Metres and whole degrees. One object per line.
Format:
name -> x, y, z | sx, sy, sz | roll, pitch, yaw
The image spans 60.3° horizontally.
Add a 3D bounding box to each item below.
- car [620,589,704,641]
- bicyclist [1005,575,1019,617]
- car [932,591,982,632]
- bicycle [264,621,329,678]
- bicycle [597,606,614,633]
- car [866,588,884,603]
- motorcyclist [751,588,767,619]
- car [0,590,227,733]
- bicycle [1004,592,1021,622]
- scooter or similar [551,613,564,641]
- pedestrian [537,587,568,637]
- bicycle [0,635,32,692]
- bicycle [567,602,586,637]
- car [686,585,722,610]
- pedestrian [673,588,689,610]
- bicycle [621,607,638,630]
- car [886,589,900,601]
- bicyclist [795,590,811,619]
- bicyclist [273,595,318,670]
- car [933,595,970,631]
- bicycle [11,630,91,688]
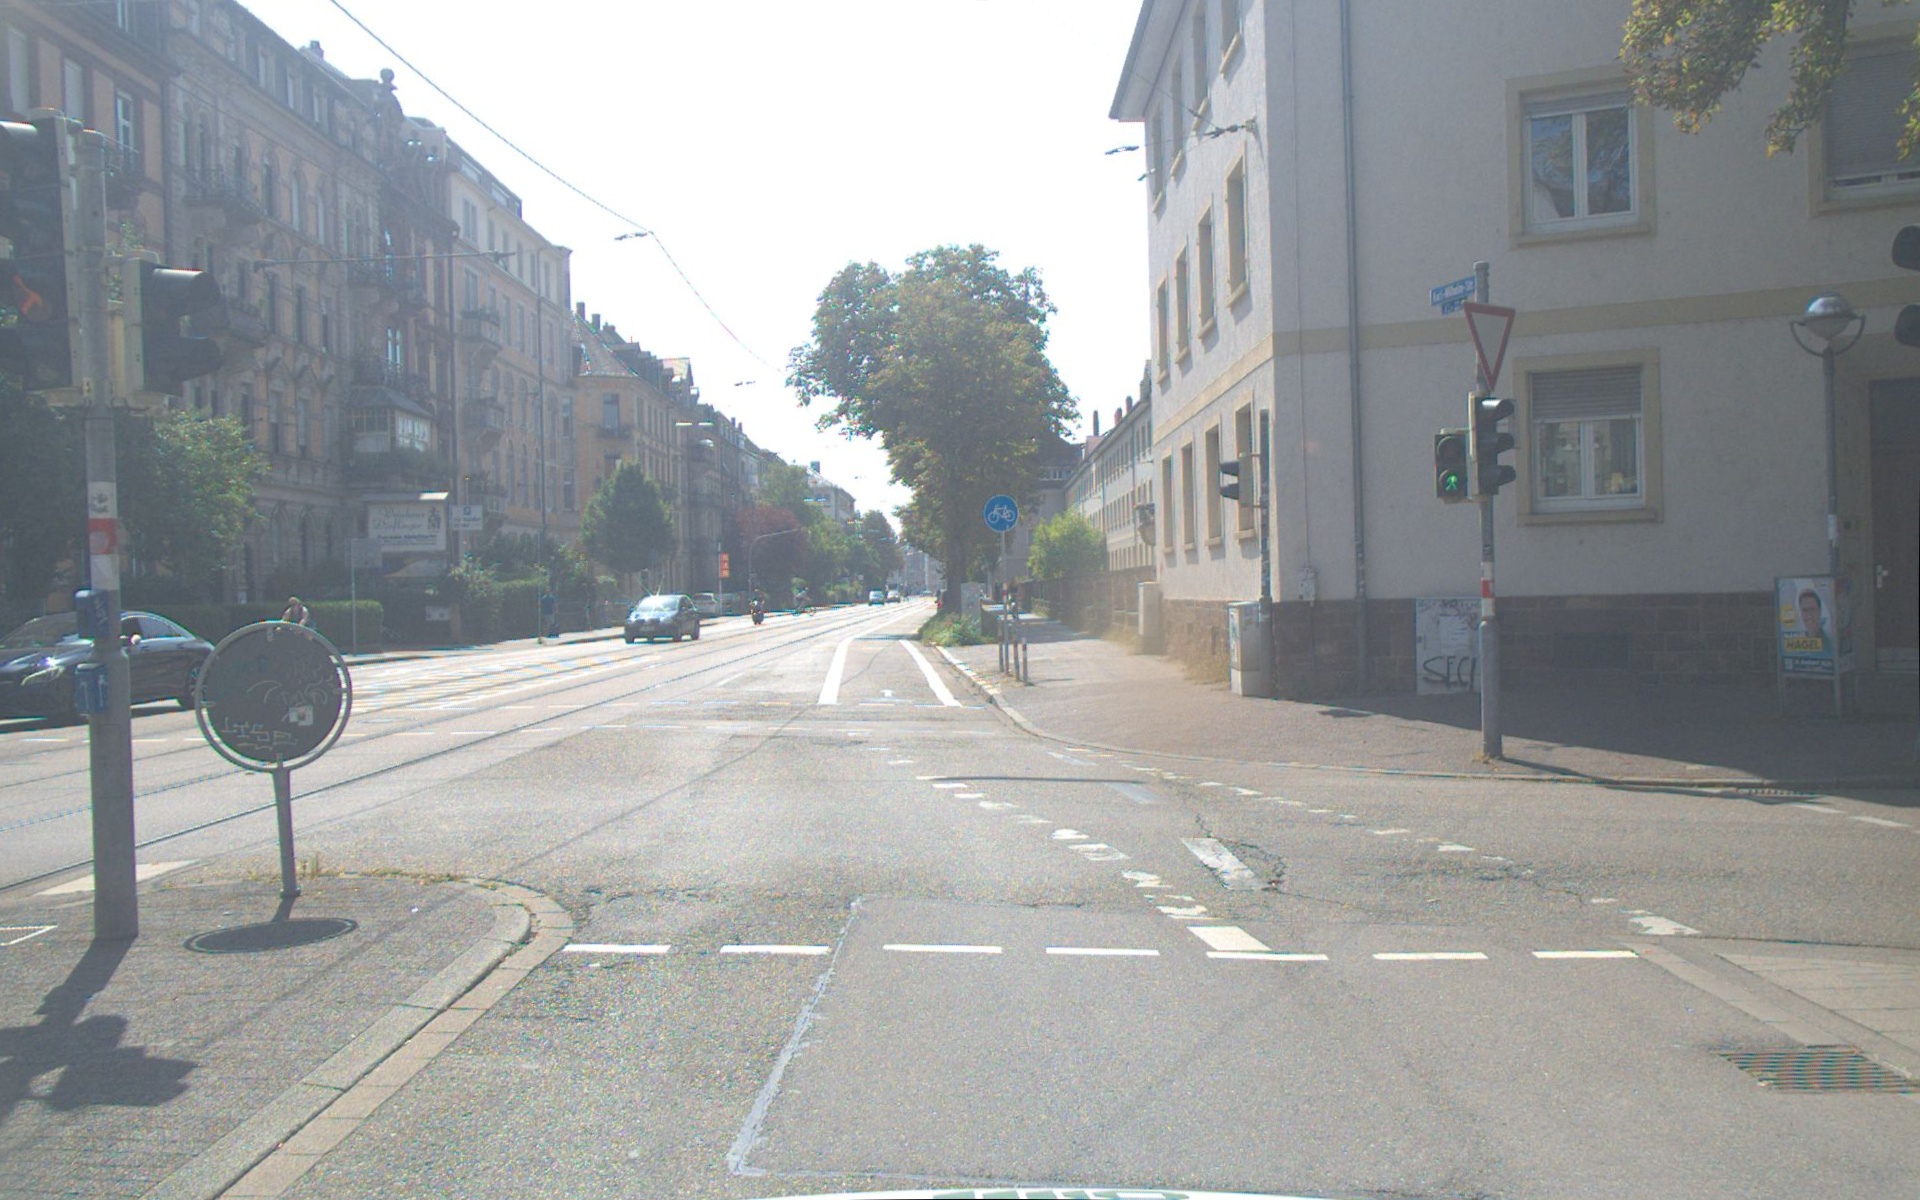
car -> -9.560, 0.449, 53.303 | 1.691, 1.458, 4.179 | 2, 1, 3
bicyclist -> 1.924, -0.143, 61.434 | 0.428, 1.538, 0.471 | -2, 0, -3
car -> -0.090, 0.432, 67.335 | 1.583, 1.557, 3.501 | -3, 0, 6
bicycle -> -13.564, 0.991, 33.861 | 0.569, 1.085, 1.843 | -2, 0, 0
bicycle -> -15.518, 0.837, 72.461 | 0.382, 1.168, 1.582 | -1, 0, 1
car -> -9.507, -0.467, 184.325 | 1.790, 1.567, 4.000 | -2, 0, -1
motorcyclist -> -9.862, 0.169, 81.150 | 0.675, 1.538, 0.773 | -1, 0, 1
car -> -11.847, 0.751, 22.005 | 1.952, 1.676, 4.632 | -2, 0, 2
bicycle -> 1.935, 0.262, 61.380 | 0.431, 1.065, 1.828 | -2, 0, -3
scooter or similar -> -14.473, 0.960, 59.463 | 0.392, 0.999, 0.583 | 0, -1, -8
pedestrian -> -14.795, 0.441, 60.052 | 0.865, 1.786, 0.870 | -1, 0, 0
bicycle -> -16.986, 1.124, 28.942 | 0.477, 0.958, 1.657 | -1, 0, 3
bicycle -> -15.730, 0.796, 67.895 | 0.382, 1.430, 1.582 | -1, 0, 1
car -> -17.168, -0.145, 111.110 | 1.954, 1.622, 4.356 | -2, 0, -4
pedestrian -> -19.876, -0.057, 117.836 | 0.874, 1.537, 0.861 | -1, 0, -31
bicycle -> -15.580, 0.858, 78.008 | 0.382, 1.056, 1.833 | -1, 0, 1
car -> -8.786, -0.621, 217.140 | 1.697, 1.516, 4.000 | -2, 0, -1
bicyclist -> -10.275, 0.273, 108.280 | 0.934, 1.869, 1.127 | -1, -1, -7
bicyclist -> -13.574, 0.660, 33.788 | 0.569, 1.496, 0.776 | -2, 0, 0
car -> -0.372, 0.557, 75.138 | 1.584, 1.503, 4.039 | -3, 0, 0
bicycle -> -16.826, 1.083, 30.660 | 0.477, 1.003, 1.657 | -1, 0, 3
